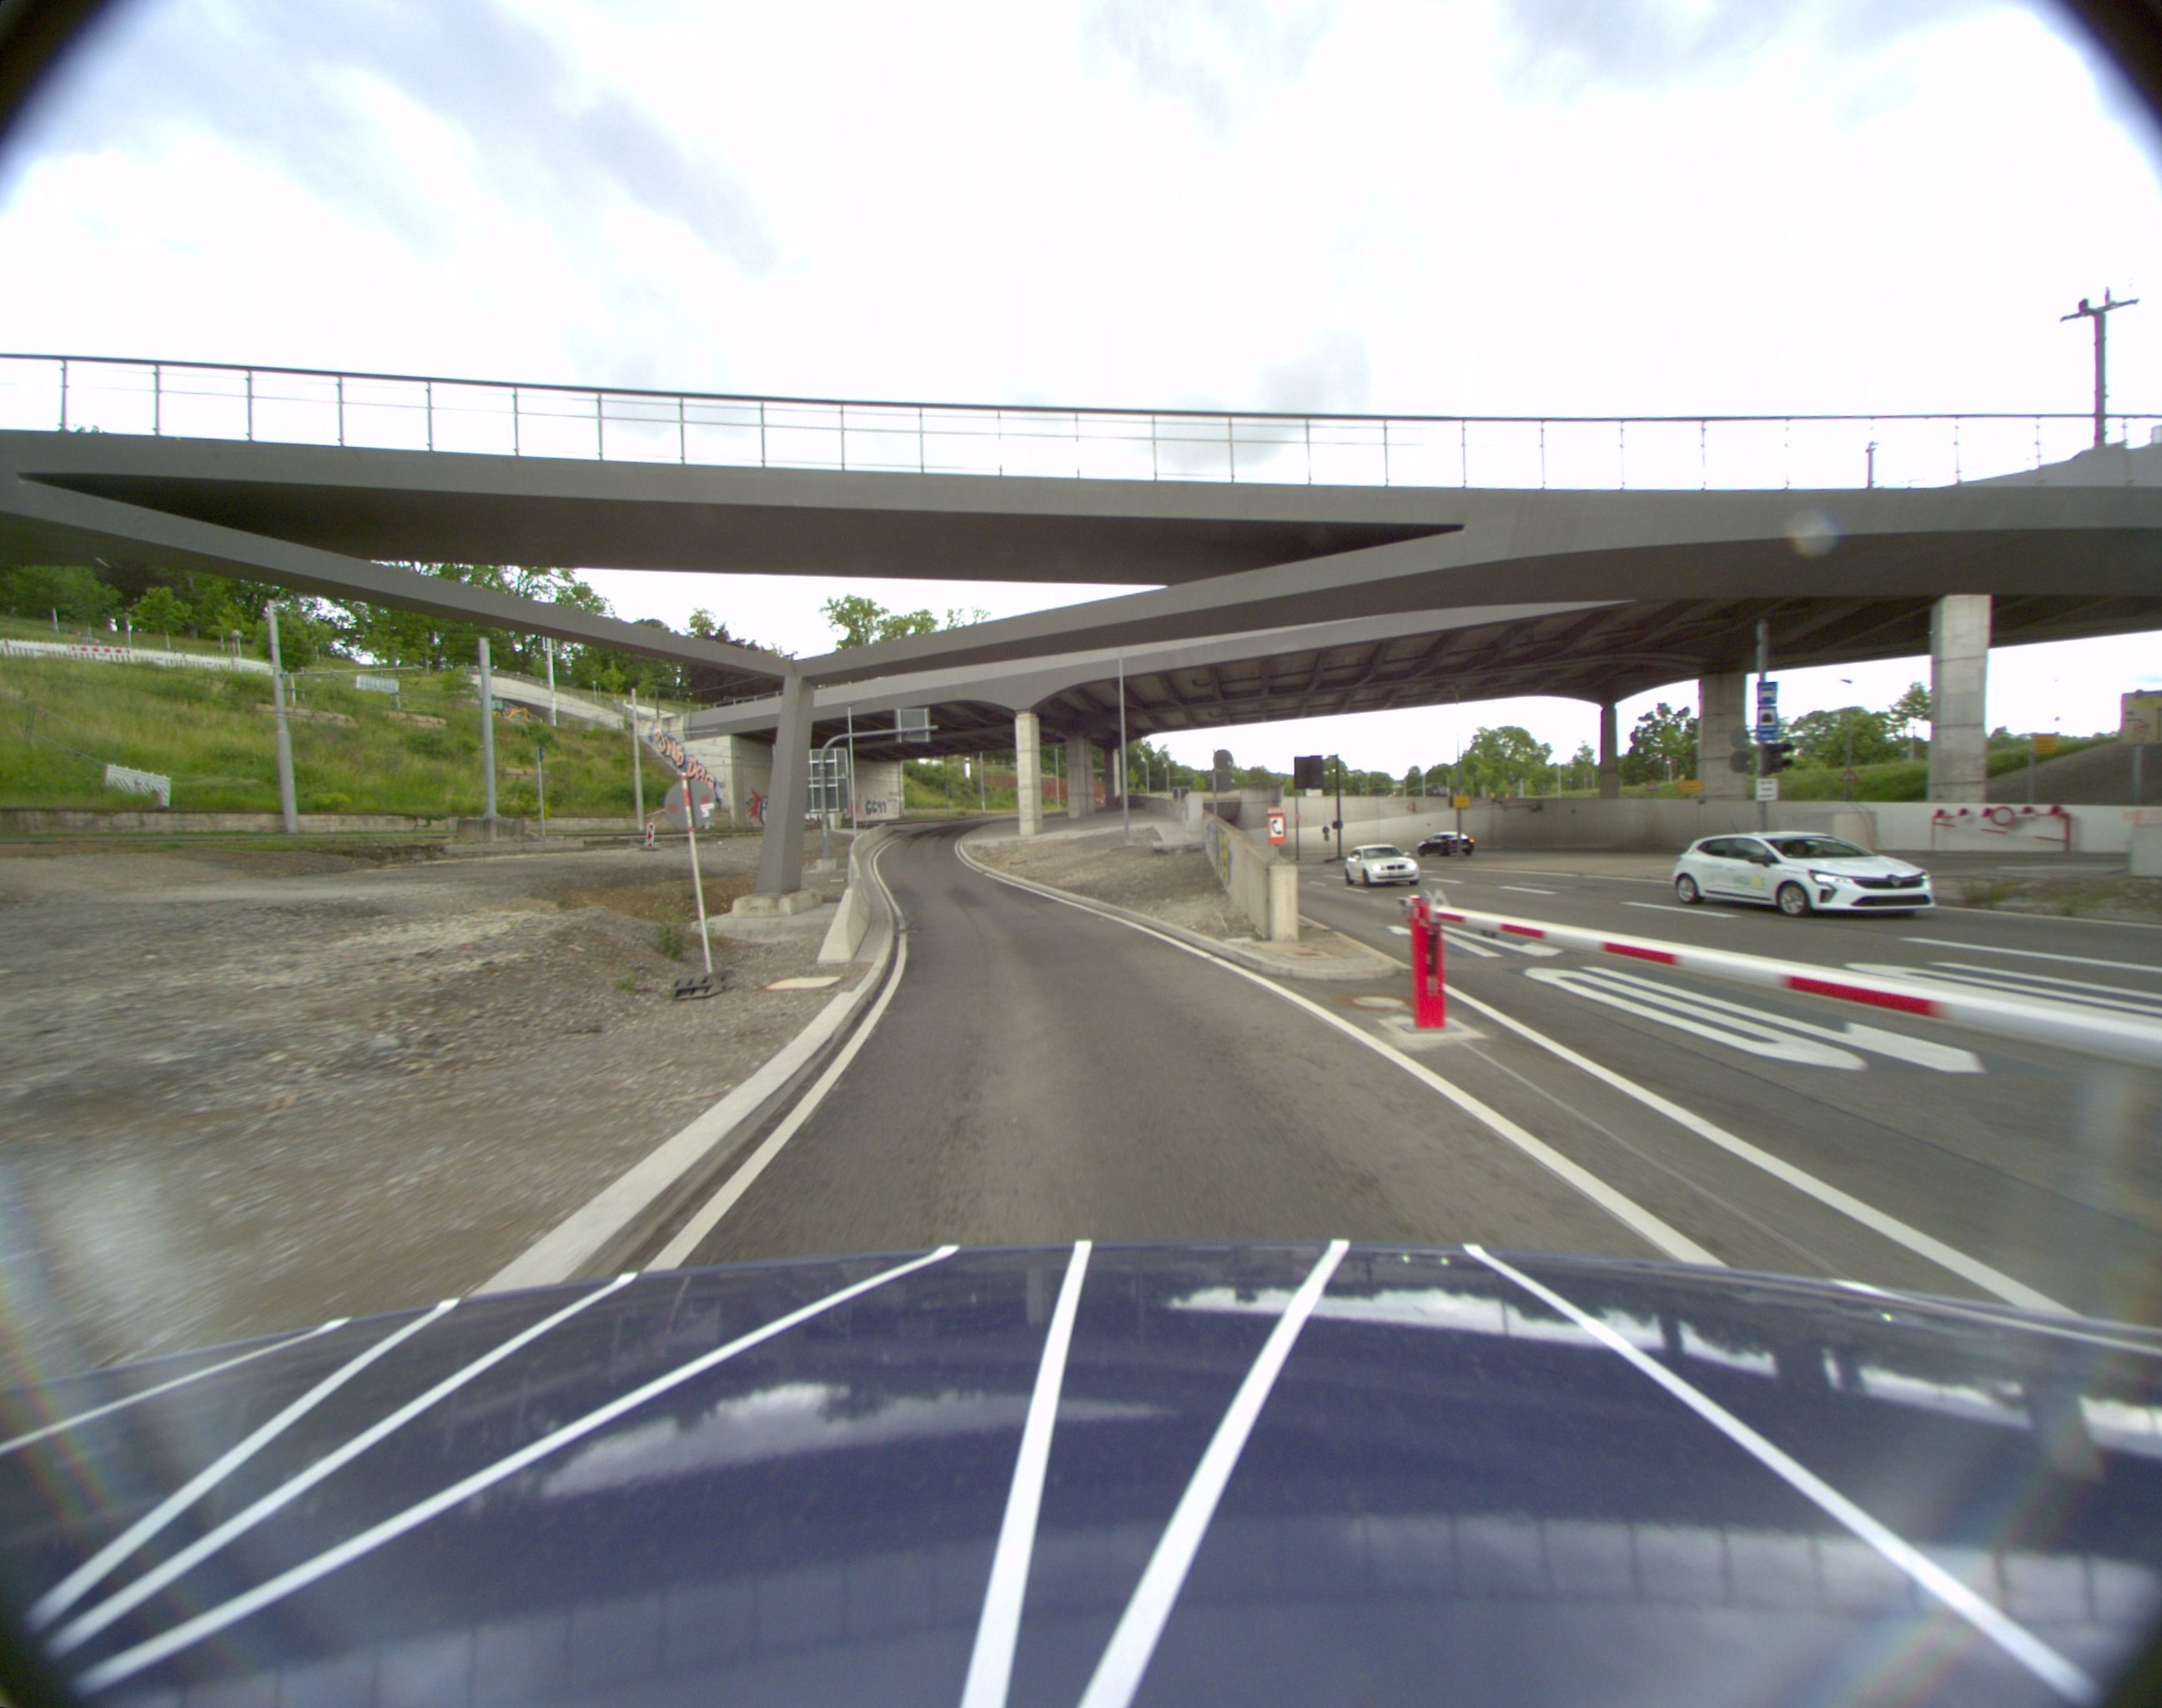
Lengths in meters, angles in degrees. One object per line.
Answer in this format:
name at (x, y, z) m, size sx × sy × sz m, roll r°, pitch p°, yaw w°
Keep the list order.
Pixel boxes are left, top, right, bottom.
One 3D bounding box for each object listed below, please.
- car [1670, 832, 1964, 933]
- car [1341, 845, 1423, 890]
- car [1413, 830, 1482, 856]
car at (12.813, 0.397, 13.637) m, size 1.579 × 1.476 × 3.997 m, roll -3°, pitch 1°, yaw 4°
car at (10.639, 0.431, 27.142) m, size 1.641 × 1.424 × 3.983 m, roll -2°, pitch 0°, yaw 6°
car at (22.188, -0.669, 46.200) m, size 1.793 × 1.469 × 4.613 m, roll -2°, pitch 1°, yaw -2°
